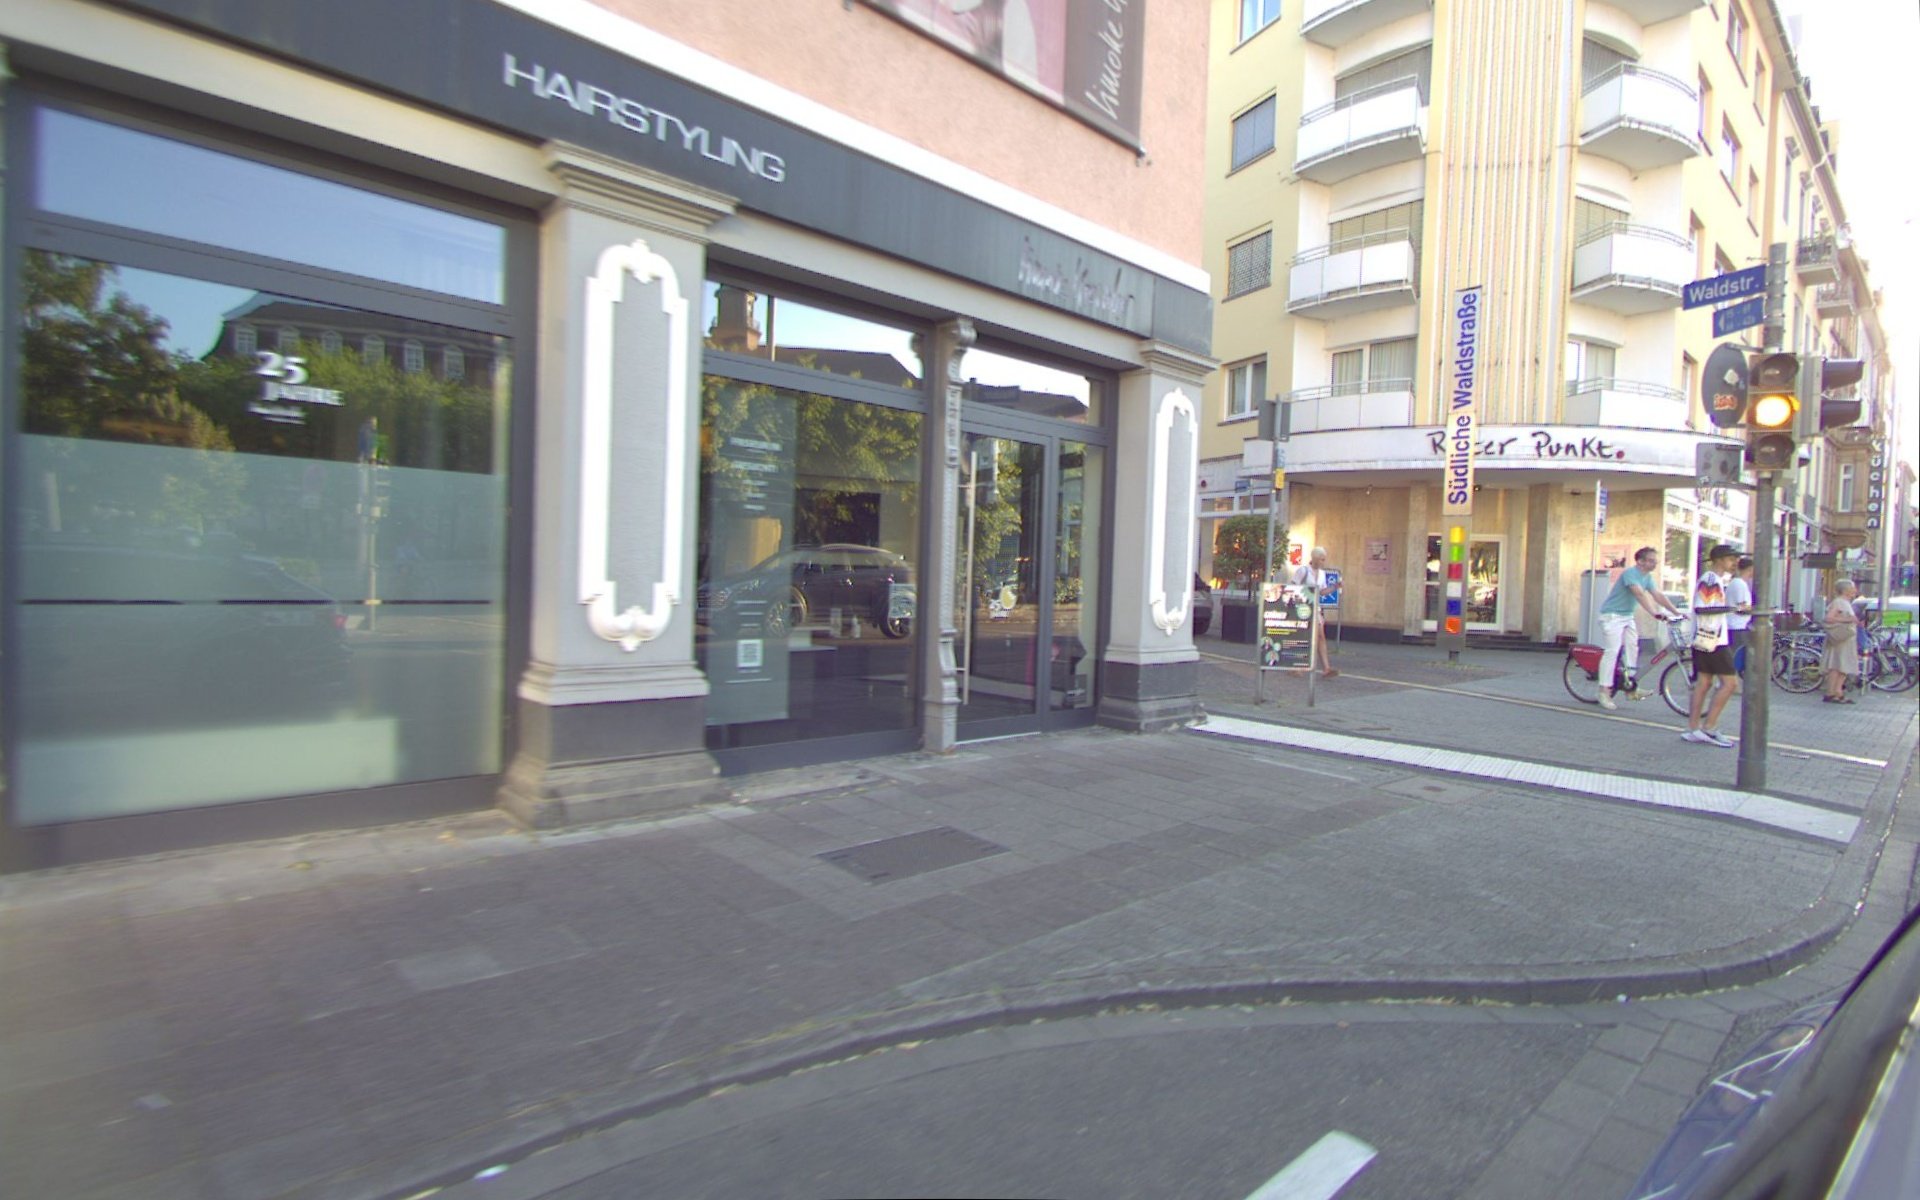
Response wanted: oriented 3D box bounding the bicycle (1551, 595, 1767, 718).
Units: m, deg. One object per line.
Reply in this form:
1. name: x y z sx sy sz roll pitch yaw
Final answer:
1. bicycle: 7.891 0.586 11.508 0.778 1.200 1.827 1 2 -34

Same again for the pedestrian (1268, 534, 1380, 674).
1. pedestrian: 4.920 0.031 13.727 0.809 1.797 1.102 1 2 -30

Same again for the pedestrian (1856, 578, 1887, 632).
1. pedestrian: 35.171 0.193 39.067 0.837 2.038 0.762 1 1 -43

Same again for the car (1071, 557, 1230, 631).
1. car: 4.523 -0.191 24.640 1.797 1.612 3.998 1 2 -24

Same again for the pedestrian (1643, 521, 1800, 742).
1. pedestrian: 7.042 0.250 9.417 0.931 1.921 0.819 3 2 25

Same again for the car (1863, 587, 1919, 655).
1. car: 25.201 0.534 26.590 4.132 1.641 1.819 0 2 -44

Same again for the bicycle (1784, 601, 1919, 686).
1. bicycle: 14.436 0.677 16.224 1.777 1.187 0.614 5 3 36

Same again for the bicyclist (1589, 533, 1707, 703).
1. bicyclist: 7.868 0.180 11.583 0.815 1.848 0.836 1 2 -36

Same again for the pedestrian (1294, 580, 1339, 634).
1. pedestrian: 8.091 0.155 22.964 0.691 1.199 0.638 1 1 -26

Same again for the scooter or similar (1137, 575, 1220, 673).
1. scooter or similar: 2.934 0.301 13.687 0.458 1.229 1.261 1 2 -21

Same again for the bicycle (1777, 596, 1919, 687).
1. bicycle: 13.912 0.614 15.710 1.842 1.254 0.630 4 2 42

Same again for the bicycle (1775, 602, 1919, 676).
1. bicycle: 15.979 0.673 18.295 1.839 1.136 0.587 5 4 36

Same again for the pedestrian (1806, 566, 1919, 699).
1. pedestrian: 11.951 0.406 13.387 0.765 1.673 0.792 2 2 -1

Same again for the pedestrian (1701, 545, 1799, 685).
1. pedestrian: 10.884 0.181 13.975 0.818 1.839 0.864 3 2 26

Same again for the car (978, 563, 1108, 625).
1. car: 2.312 -0.218 29.607 1.905 1.604 4.452 1 2 -23

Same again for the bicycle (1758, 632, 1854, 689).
1. bicycle: 12.470 0.875 14.955 1.002 0.689 1.036 4 2 37

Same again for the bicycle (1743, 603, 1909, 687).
1. bicycle: 13.026 0.649 15.308 1.777 1.076 0.710 5 3 36

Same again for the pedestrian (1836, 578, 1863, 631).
1. pedestrian: 34.930 0.166 39.758 0.837 2.038 0.673 0 1 -43

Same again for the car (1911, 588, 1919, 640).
1. car: 33.377 0.509 33.930 4.356 1.694 1.875 0 2 -44

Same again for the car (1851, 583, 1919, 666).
1. car: 20.848 0.503 22.208 1.698 1.636 4.608 3 2 44

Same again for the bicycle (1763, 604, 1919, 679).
1. bicycle: 15.338 0.692 17.541 2.167 1.088 0.794 5 3 40

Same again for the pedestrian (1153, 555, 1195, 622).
1. pedestrian: 5.522 -0.293 26.091 0.740 1.689 0.735 1 1 -20

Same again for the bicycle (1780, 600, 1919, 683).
1. bicycle: 14.789 0.667 16.757 1.777 1.187 0.614 5 3 36

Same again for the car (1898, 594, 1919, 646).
1. car: 29.388 0.606 30.203 4.533 1.475 1.736 0 2 -44
